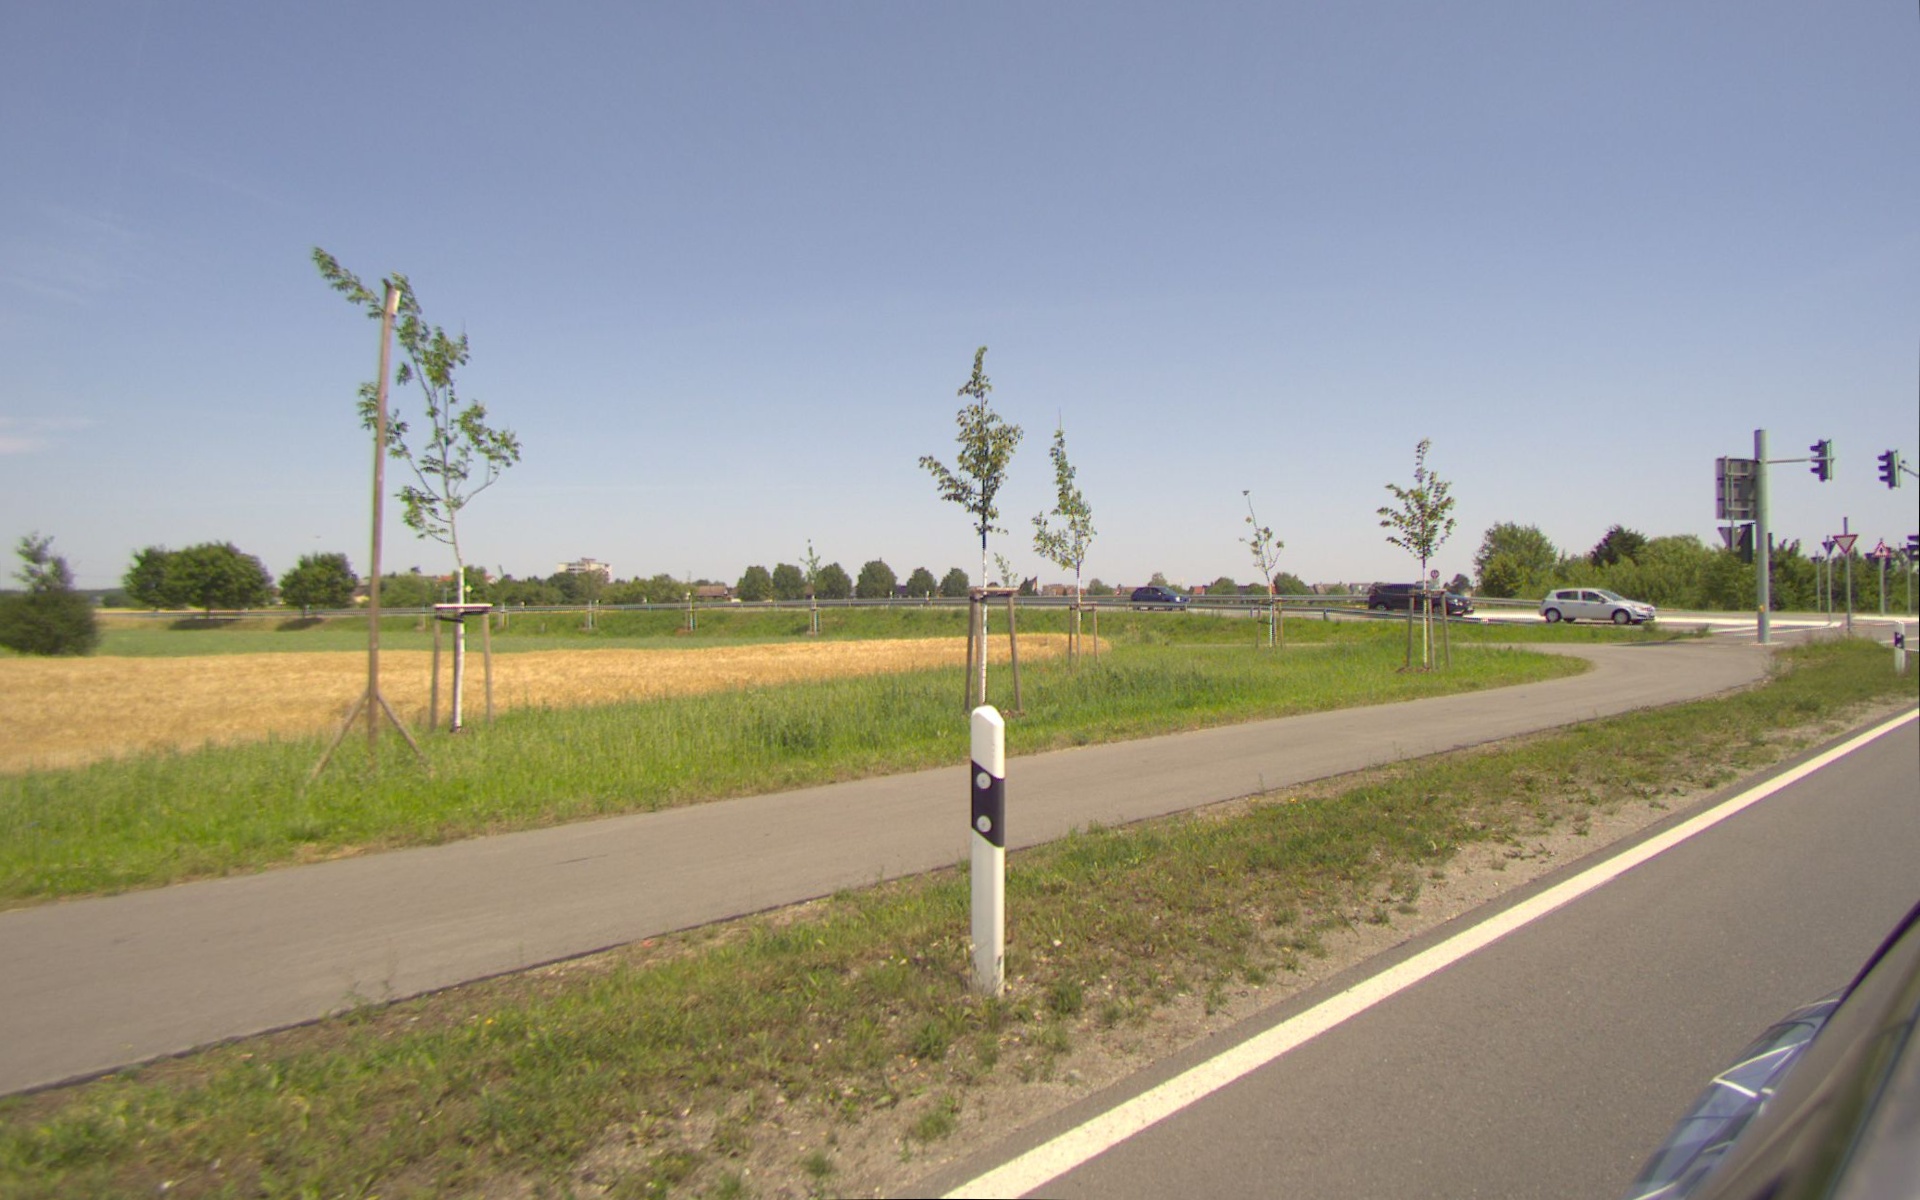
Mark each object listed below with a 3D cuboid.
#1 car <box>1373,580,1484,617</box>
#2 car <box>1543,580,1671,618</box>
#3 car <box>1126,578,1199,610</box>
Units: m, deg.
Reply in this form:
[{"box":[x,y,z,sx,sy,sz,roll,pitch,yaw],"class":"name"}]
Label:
[{"box":[22.120,-0.114,47.918,1.780,1.661,4.527,-1,2,-35],"class":"car"},{"box":[26.548,-0.044,41.670,1.629,1.478,4.152,-1,1,-35],"class":"car"},{"box":[12.120,-0.330,60.716,3.899,1.831,1.894,-1,0,38],"class":"car"}]
